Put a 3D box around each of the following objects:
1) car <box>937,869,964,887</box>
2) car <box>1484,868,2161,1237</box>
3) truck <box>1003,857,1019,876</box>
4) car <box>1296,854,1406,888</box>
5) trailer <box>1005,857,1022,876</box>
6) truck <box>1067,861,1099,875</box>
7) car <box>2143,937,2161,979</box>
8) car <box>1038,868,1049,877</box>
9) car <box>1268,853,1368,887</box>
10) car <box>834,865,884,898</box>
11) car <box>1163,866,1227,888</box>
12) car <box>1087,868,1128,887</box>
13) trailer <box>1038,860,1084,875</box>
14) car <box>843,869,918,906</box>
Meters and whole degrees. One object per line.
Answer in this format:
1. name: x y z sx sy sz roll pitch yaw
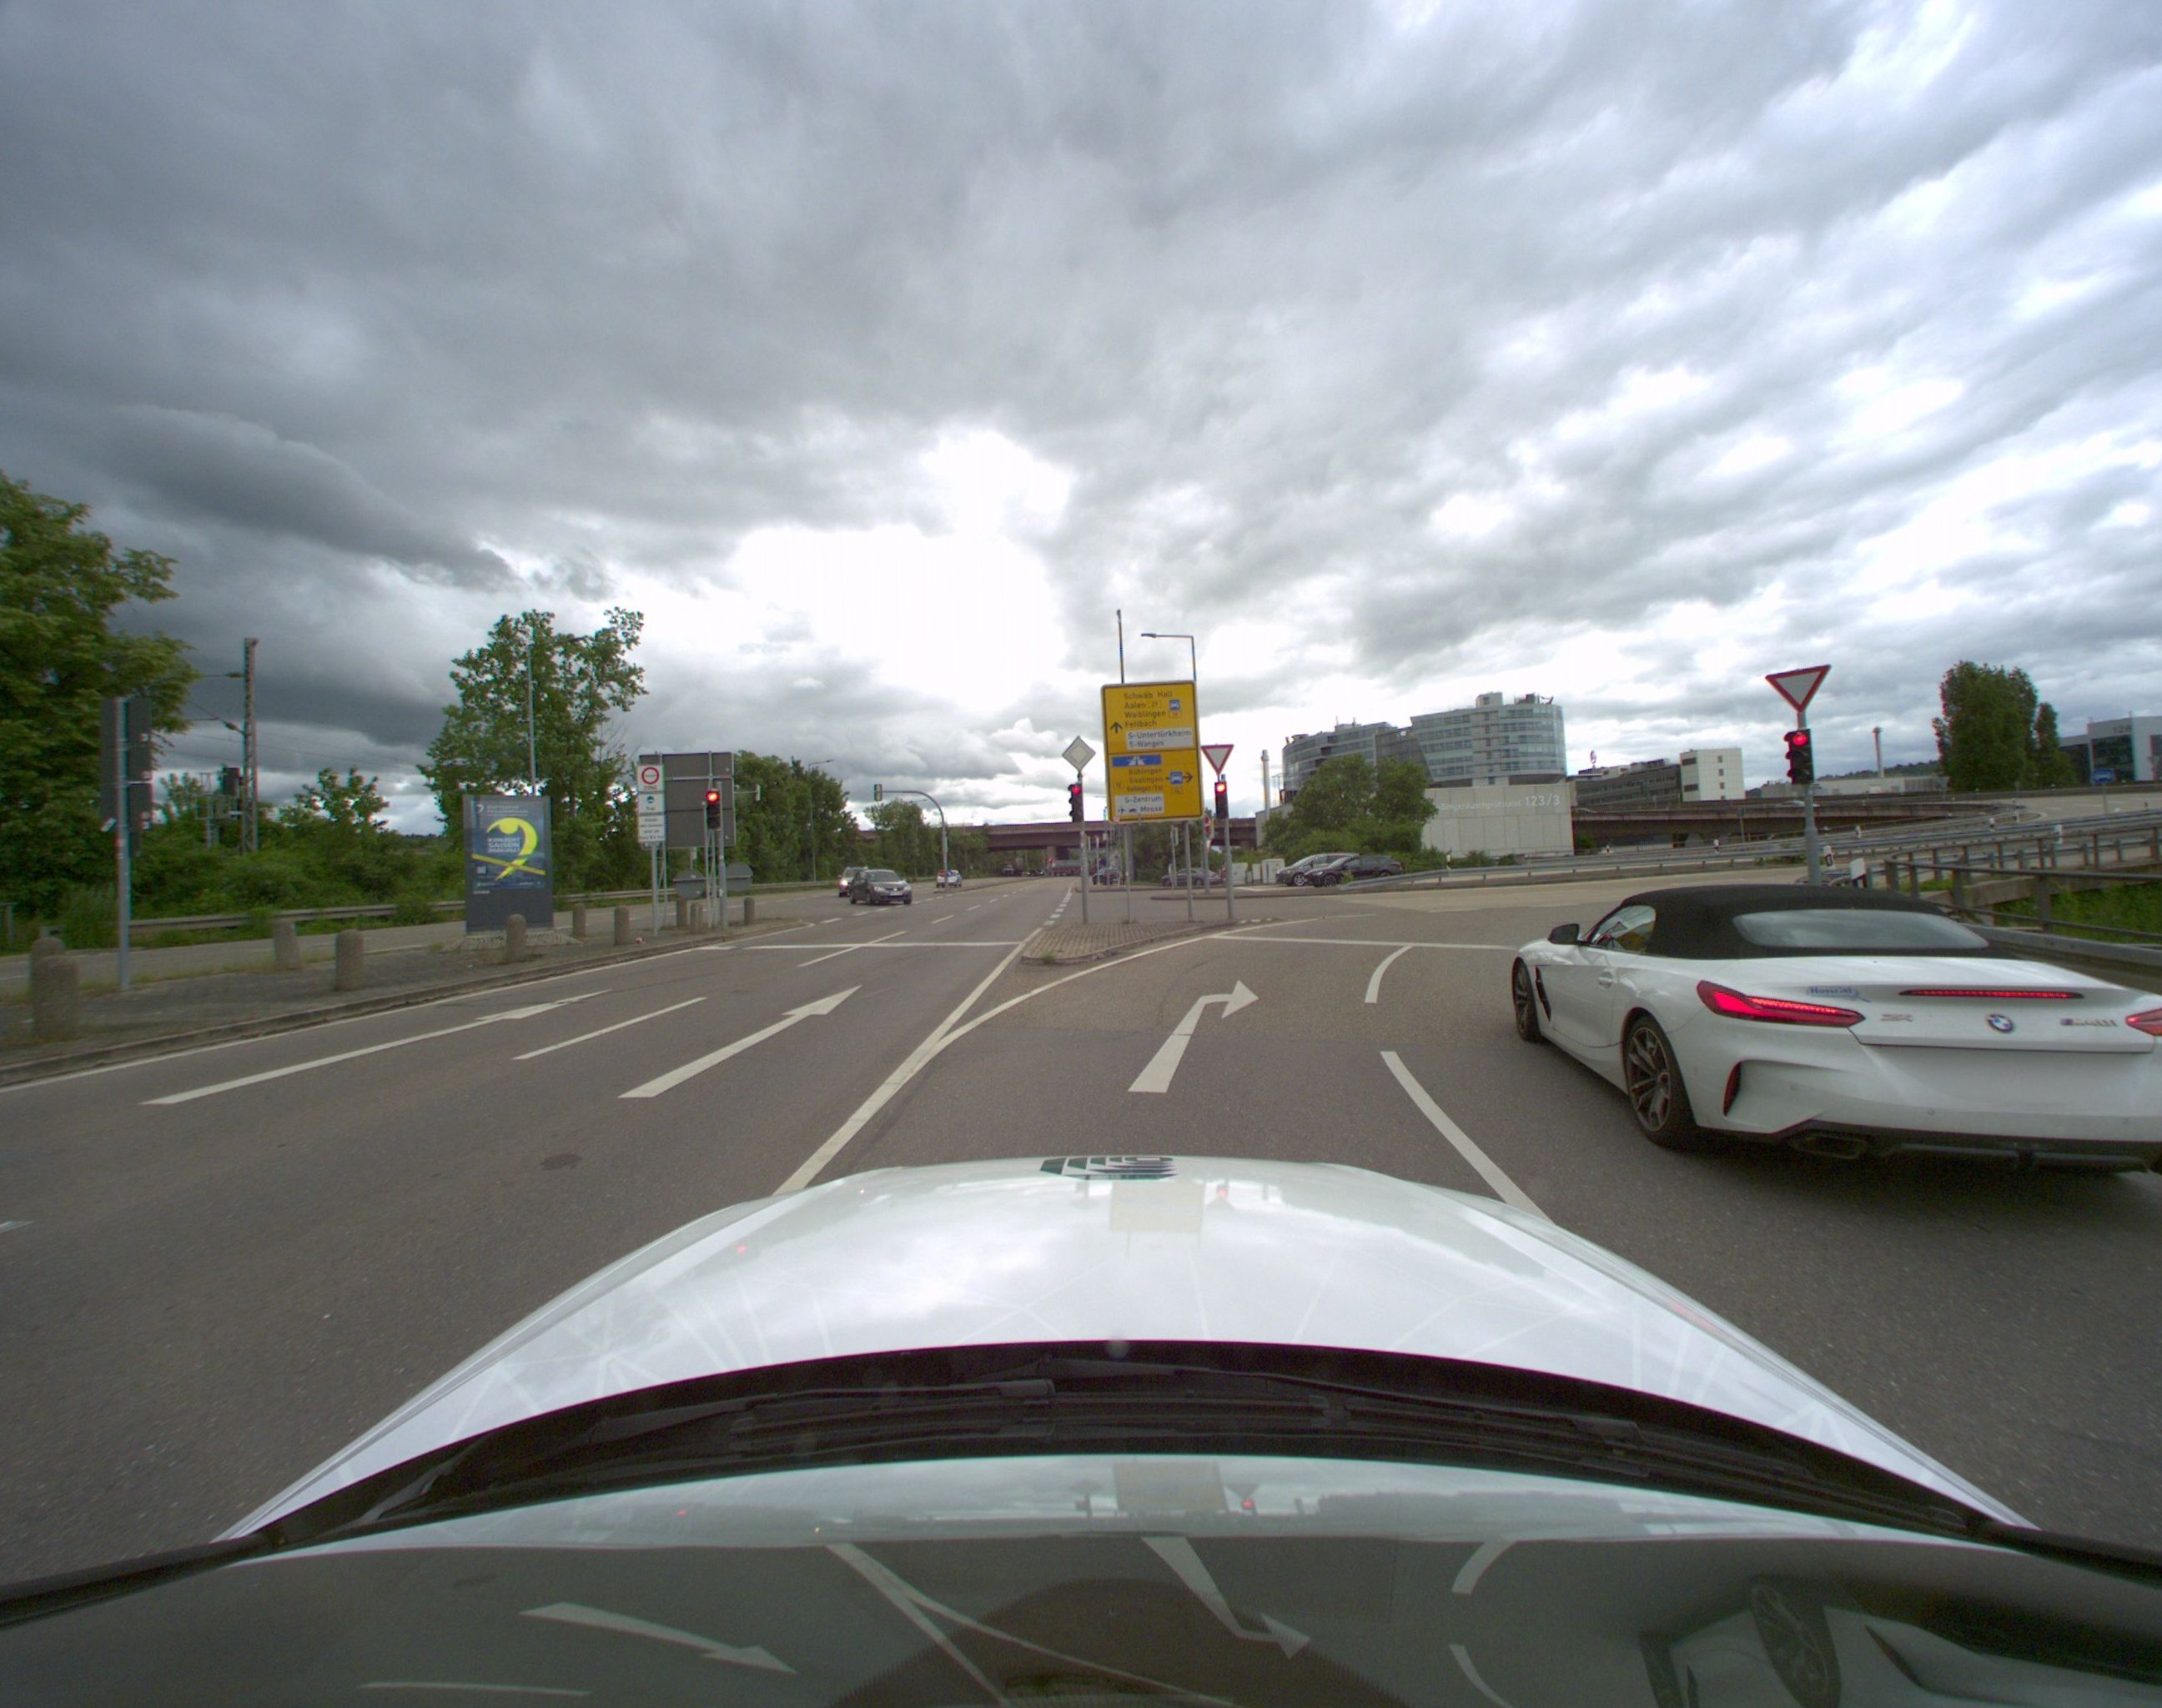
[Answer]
1. car: -11.060 2.017 69.248 1.719 1.400 4.063 -2 -1 -1
2. car: 4.064 0.781 5.196 1.792 1.291 4.279 -1 0 14
3. truck: -15.374 2.717 179.940 2.861 4.084 6.488 0 0 1
4. car: 12.828 0.788 38.845 4.597 1.457 1.953 -2 0 -5
5. trailer: -15.277 2.814 185.163 2.861 4.084 11.429 0 0 1
6. truck: 0.424 2.675 157.422 5.724 2.624 2.629 2 -1 11
7. car: 46.608 4.367 33.048 1.824 1.637 3.845 -3 0 -14
8. car: -8.310 4.191 181.645 1.984 1.860 4.005 1 0 4
9. car: 12.447 0.812 42.886 4.666 1.571 1.954 -2 0 -2
10. car: -12.576 1.519 46.391 1.720 1.737 4.551 -2 -1 -2
11. car: 8.030 1.630 57.622 4.058 1.442 2.012 -4 -4 43
12. car: 2.173 1.946 68.058 2.001 1.464 4.080 0 -3 -21
13. trailer: -3.855 2.559 158.436 8.473 2.624 2.622 2 -1 18
14. car: -8.496 1.402 34.262 1.737 1.462 4.199 1 -2 -34
